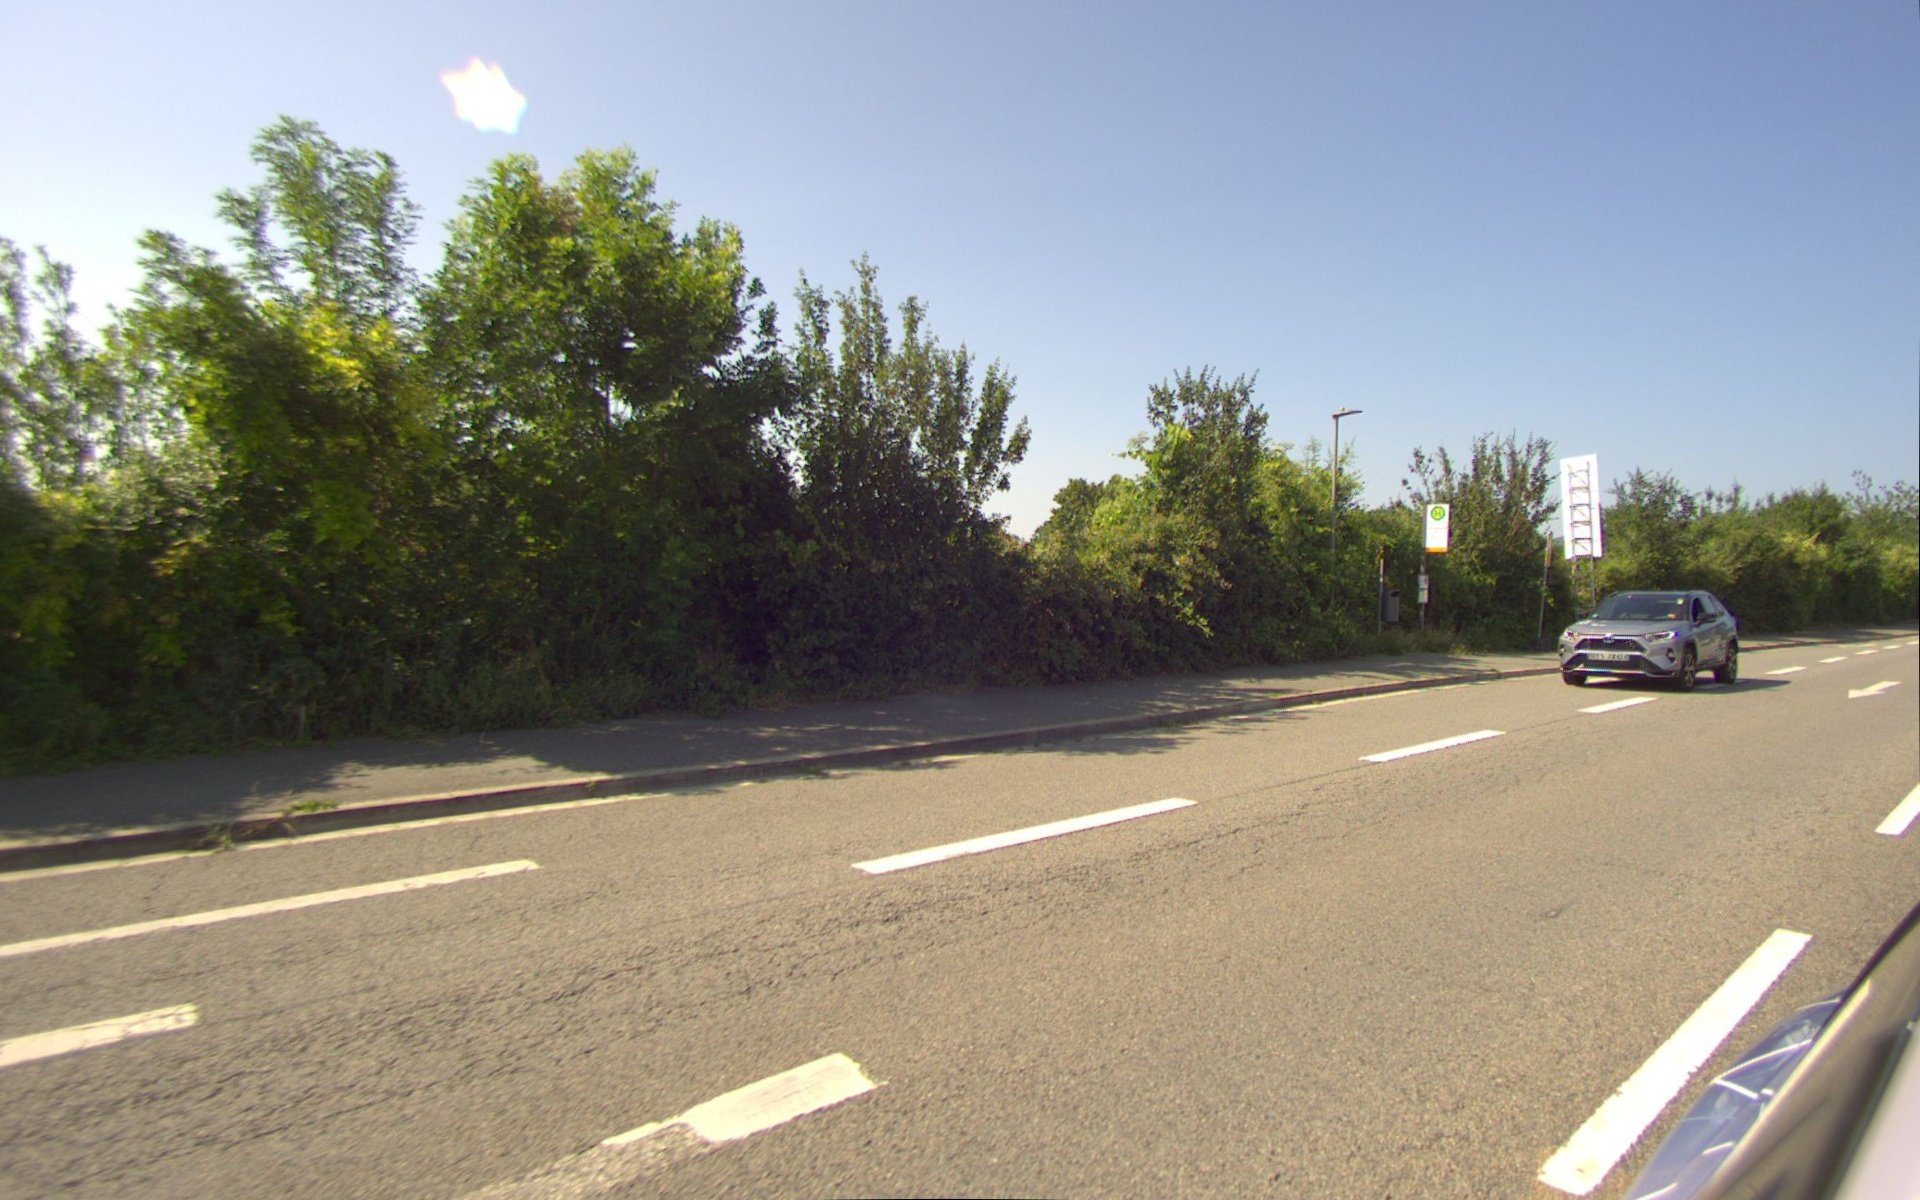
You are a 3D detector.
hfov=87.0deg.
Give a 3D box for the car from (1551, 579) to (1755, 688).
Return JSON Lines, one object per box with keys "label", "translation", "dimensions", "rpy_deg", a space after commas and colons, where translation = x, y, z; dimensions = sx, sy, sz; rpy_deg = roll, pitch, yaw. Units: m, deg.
{"label": "car", "translation": [12.412, 0.515, 18.002], "dimensions": [4.601, 1.701, 1.905], "rpy_deg": [0, 0, -41]}
